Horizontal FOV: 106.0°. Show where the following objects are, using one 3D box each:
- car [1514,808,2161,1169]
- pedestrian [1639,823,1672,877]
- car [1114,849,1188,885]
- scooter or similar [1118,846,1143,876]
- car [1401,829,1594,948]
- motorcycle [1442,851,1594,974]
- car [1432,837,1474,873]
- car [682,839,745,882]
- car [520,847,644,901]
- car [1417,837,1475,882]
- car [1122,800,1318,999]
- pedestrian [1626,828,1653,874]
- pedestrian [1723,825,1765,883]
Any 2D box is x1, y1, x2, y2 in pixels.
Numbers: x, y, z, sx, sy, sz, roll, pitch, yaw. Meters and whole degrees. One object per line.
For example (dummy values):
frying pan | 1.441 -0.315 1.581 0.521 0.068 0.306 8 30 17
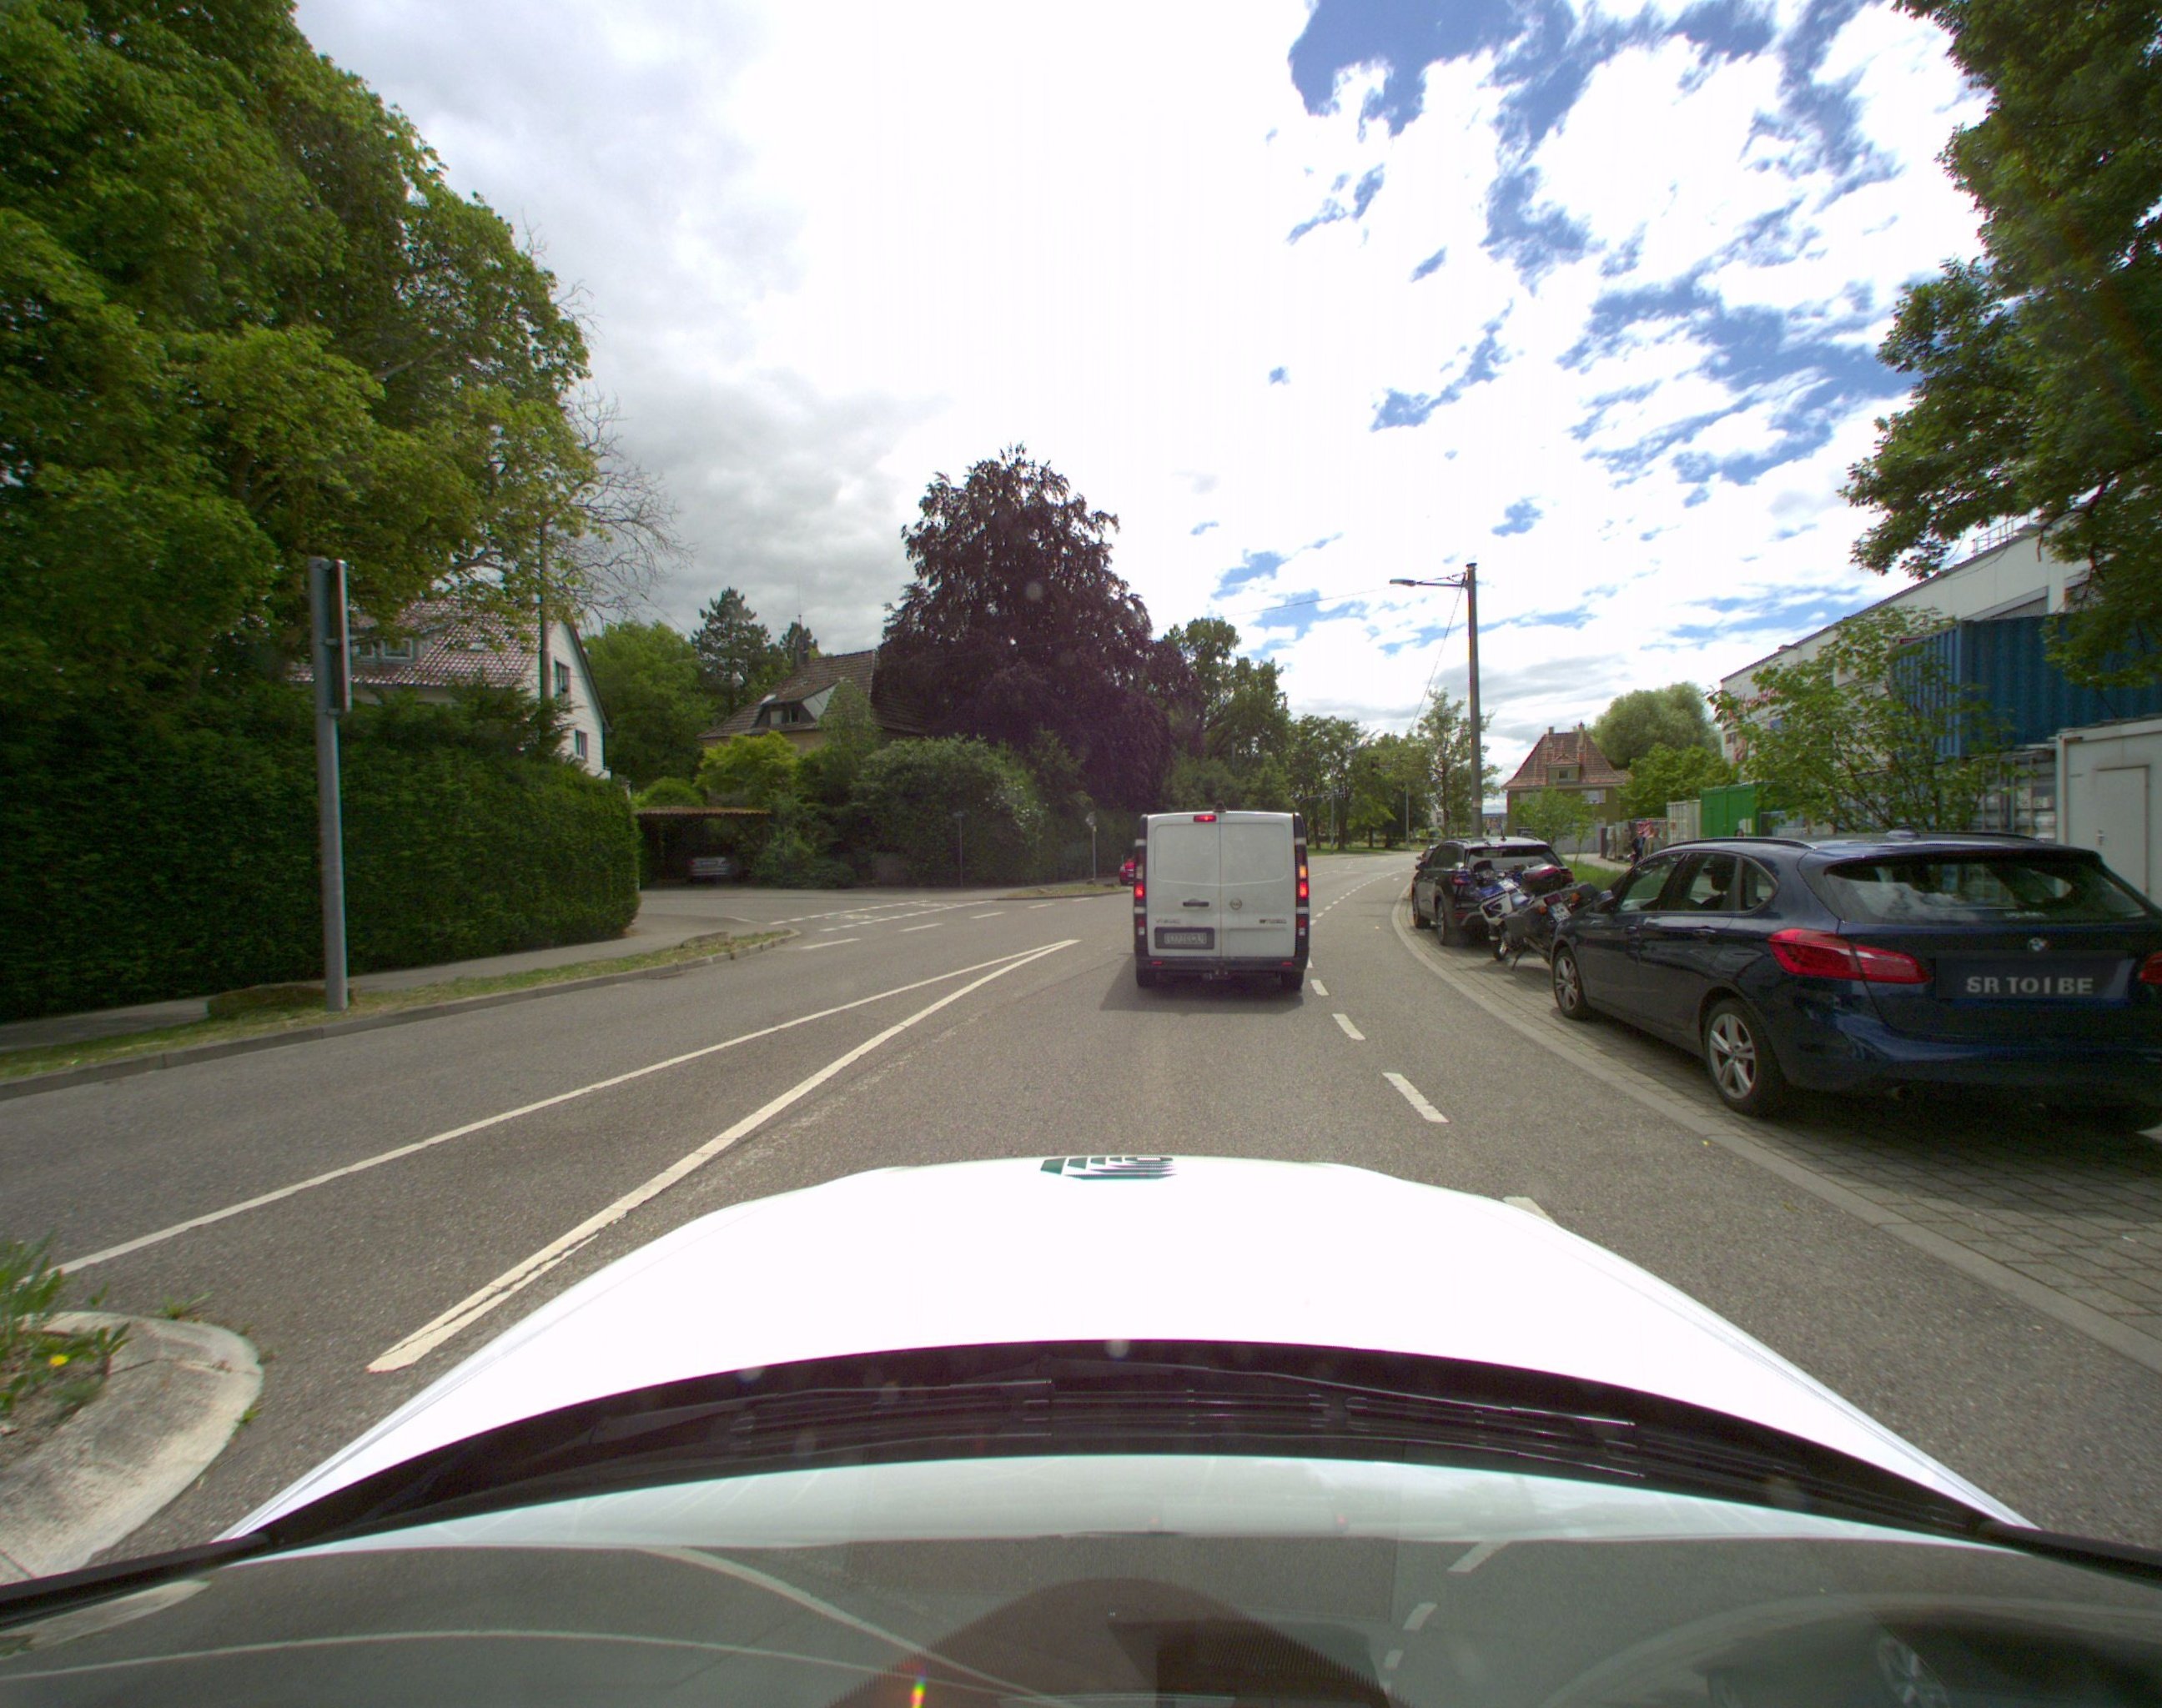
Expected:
car | 4.828 0.583 5.808 1.903 1.578 4.445 -2 0 12
pedestrian | 18.144 -0.128 25.732 0.645 1.696 0.728 -1 0 15
car | 3.082 0.520 34.782 1.645 1.378 4.593 1 1 25
scooter or similar | 2.462 0.332 40.539 0.664 1.412 1.659 0 1 26
car | 6.715 0.475 13.724 1.865 1.621 4.866 -2 0 15
motorcycle | 5.341 0.659 10.165 1.064 1.305 2.268 -4 0 13
car | 18.502 0.010 40.484 1.721 1.616 4.412 -3 -1 25
car | -13.853 0.198 30.893 1.727 1.509 3.976 -1 1 -18
car | -14.873 0.577 24.400 2.772 1.555 1.583 0 0 -13
car | 13.774 0.173 30.870 1.749 1.477 4.963 -4 -1 23
car | 1.785 0.418 10.603 1.927 1.960 4.846 1 1 9
pedestrian | 20.951 -0.101 30.549 0.646 1.697 0.849 -1 0 22
pedestrian | 19.036 -0.001 23.413 0.736 1.618 0.772 -1 0 22
